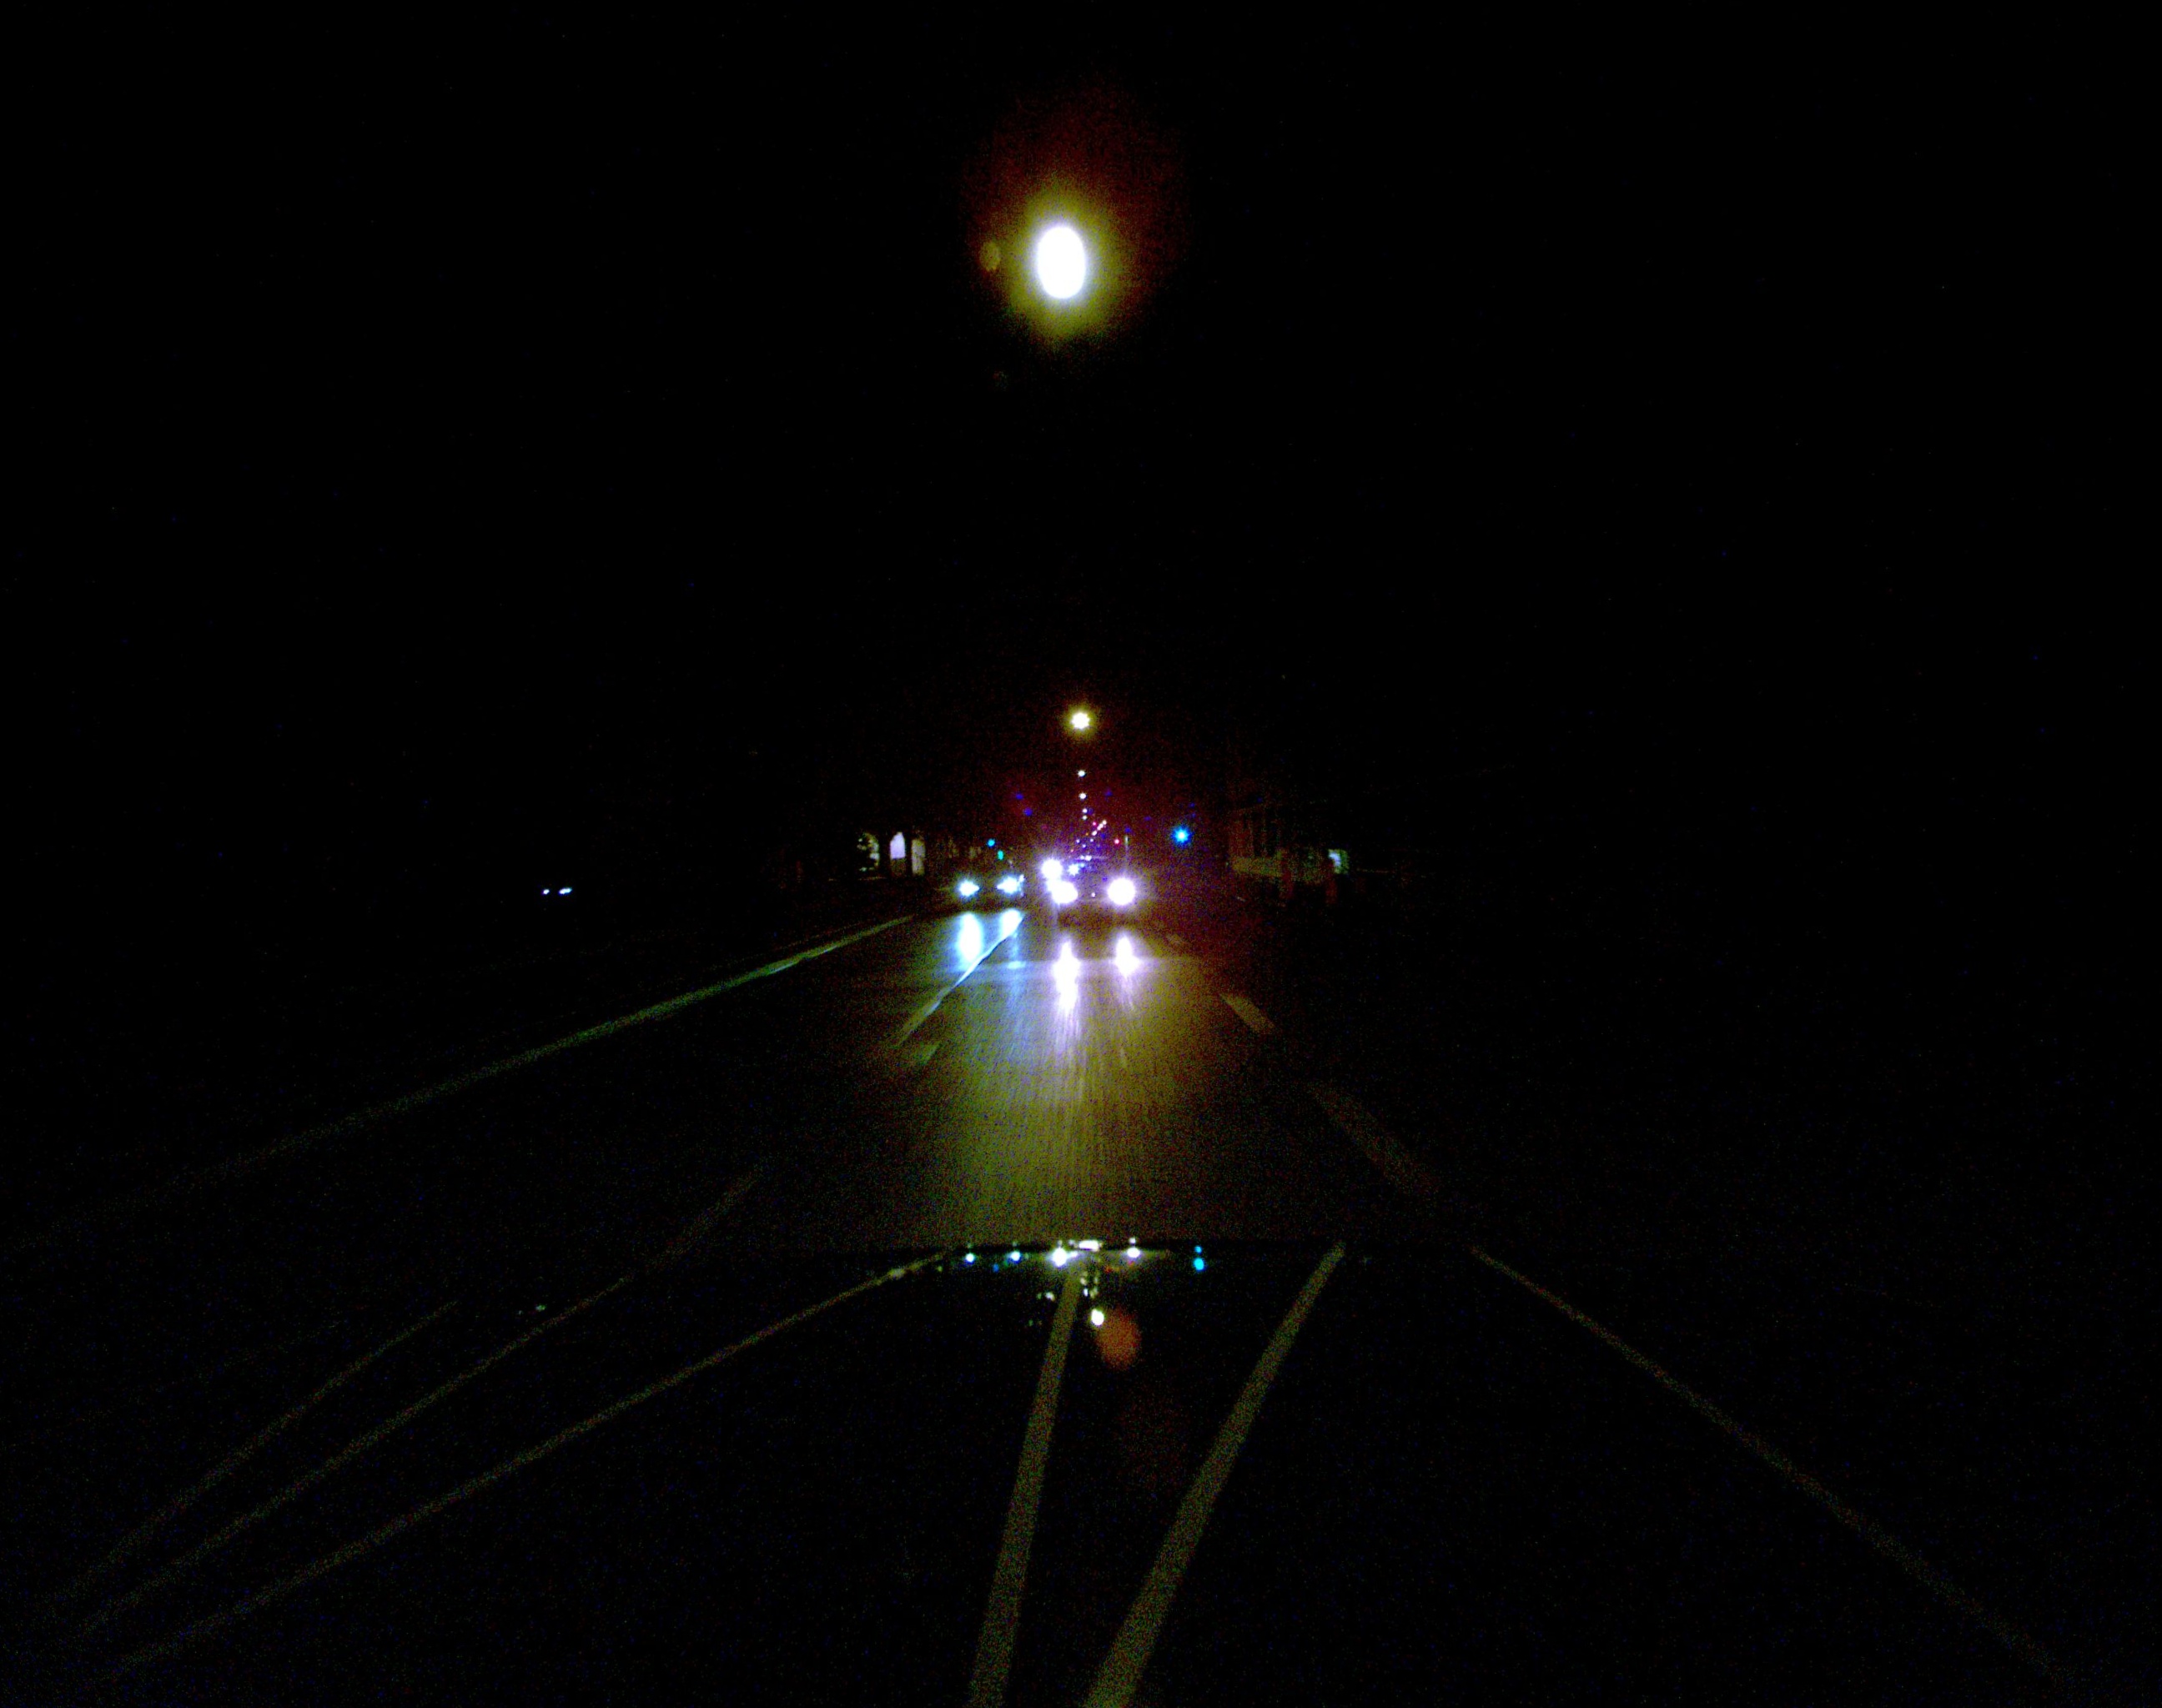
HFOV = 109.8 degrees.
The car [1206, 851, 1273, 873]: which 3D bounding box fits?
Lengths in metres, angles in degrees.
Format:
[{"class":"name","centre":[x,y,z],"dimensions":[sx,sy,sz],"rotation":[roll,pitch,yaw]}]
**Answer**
[{"class":"car","centre":[11.151,0.546,53.763],"dimensions":[1.896,1.416,4.718],"rotation":[-1,1,-31]}]

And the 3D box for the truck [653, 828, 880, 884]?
[{"class":"truck","centre":[-25.096,0.137,61.221],"dimensions":[16.820,3.961,3.131],"rotation":[-2,2,0]}]

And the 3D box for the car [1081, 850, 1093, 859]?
[{"class":"car","centre":[1.077,0.083,134.210],"dimensions":[1.998,1.626,4.001],"rotation":[-1,0,4]}]

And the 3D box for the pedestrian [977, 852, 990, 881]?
[{"class":"pedestrian","centre":[-6.087,0.783,47.308],"dimensions":[0.623,1.801,0.759],"rotation":[-2,1,1]}]

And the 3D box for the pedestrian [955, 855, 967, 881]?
[{"class":"pedestrian","centre":[-7.602,0.894,48.096],"dimensions":[0.622,1.629,0.679],"rotation":[-2,1,1]}]

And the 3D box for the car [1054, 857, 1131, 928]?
[{"class":"car","centre":[0.330,0.847,18.359],"dimensions":[1.634,1.430,3.840],"rotation":[-1,1,2]}]

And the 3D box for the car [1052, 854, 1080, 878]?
[{"class":"car","centre":[-0.979,0.756,50.131],"dimensions":[1.729,1.455,3.999],"rotation":[-1,1,0]}]

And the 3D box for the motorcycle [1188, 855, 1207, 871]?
[{"class":"motorcycle","centre":[8.698,0.685,56.871],"dimensions":[0.574,1.173,2.029],"rotation":[-2,1,-16]}]

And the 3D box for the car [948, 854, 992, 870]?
[{"class":"car","centre":[-11.038,0.779,75.876],"dimensions":[4.092,1.446,1.786],"rotation":[-1,1,0]}]

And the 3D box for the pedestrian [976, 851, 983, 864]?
[{"class":"pedestrian","centre":[-13.693,0.433,102.630],"dimensions":[0.737,1.707,0.985],"rotation":[-1,1,1]}]

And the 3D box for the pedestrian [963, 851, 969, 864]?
[{"class":"pedestrian","centre":[-15.534,0.477,102.827],"dimensions":[0.675,1.806,0.906],"rotation":[-1,1,1]}]

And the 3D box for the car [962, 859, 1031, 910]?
[{"class":"car","centre":[-2.785,0.960,25.884],"dimensions":[1.729,1.421,4.498],"rotation":[-3,1,1]}]

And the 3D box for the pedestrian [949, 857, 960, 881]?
[{"class":"pedestrian","centre":[-8.255,0.965,49.493],"dimensions":[0.574,1.525,0.633],"rotation":[-2,1,1]}]

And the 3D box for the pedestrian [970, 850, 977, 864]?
[{"class":"pedestrian","centre":[-14.573,0.411,102.694],"dimensions":[0.721,1.778,0.970],"rotation":[-1,1,1]}]

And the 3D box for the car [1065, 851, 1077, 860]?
[{"class":"car","centre":[-1.654,0.234,123.210],"dimensions":[1.618,1.259,3.628],"rotation":[-3,0,4]}]
